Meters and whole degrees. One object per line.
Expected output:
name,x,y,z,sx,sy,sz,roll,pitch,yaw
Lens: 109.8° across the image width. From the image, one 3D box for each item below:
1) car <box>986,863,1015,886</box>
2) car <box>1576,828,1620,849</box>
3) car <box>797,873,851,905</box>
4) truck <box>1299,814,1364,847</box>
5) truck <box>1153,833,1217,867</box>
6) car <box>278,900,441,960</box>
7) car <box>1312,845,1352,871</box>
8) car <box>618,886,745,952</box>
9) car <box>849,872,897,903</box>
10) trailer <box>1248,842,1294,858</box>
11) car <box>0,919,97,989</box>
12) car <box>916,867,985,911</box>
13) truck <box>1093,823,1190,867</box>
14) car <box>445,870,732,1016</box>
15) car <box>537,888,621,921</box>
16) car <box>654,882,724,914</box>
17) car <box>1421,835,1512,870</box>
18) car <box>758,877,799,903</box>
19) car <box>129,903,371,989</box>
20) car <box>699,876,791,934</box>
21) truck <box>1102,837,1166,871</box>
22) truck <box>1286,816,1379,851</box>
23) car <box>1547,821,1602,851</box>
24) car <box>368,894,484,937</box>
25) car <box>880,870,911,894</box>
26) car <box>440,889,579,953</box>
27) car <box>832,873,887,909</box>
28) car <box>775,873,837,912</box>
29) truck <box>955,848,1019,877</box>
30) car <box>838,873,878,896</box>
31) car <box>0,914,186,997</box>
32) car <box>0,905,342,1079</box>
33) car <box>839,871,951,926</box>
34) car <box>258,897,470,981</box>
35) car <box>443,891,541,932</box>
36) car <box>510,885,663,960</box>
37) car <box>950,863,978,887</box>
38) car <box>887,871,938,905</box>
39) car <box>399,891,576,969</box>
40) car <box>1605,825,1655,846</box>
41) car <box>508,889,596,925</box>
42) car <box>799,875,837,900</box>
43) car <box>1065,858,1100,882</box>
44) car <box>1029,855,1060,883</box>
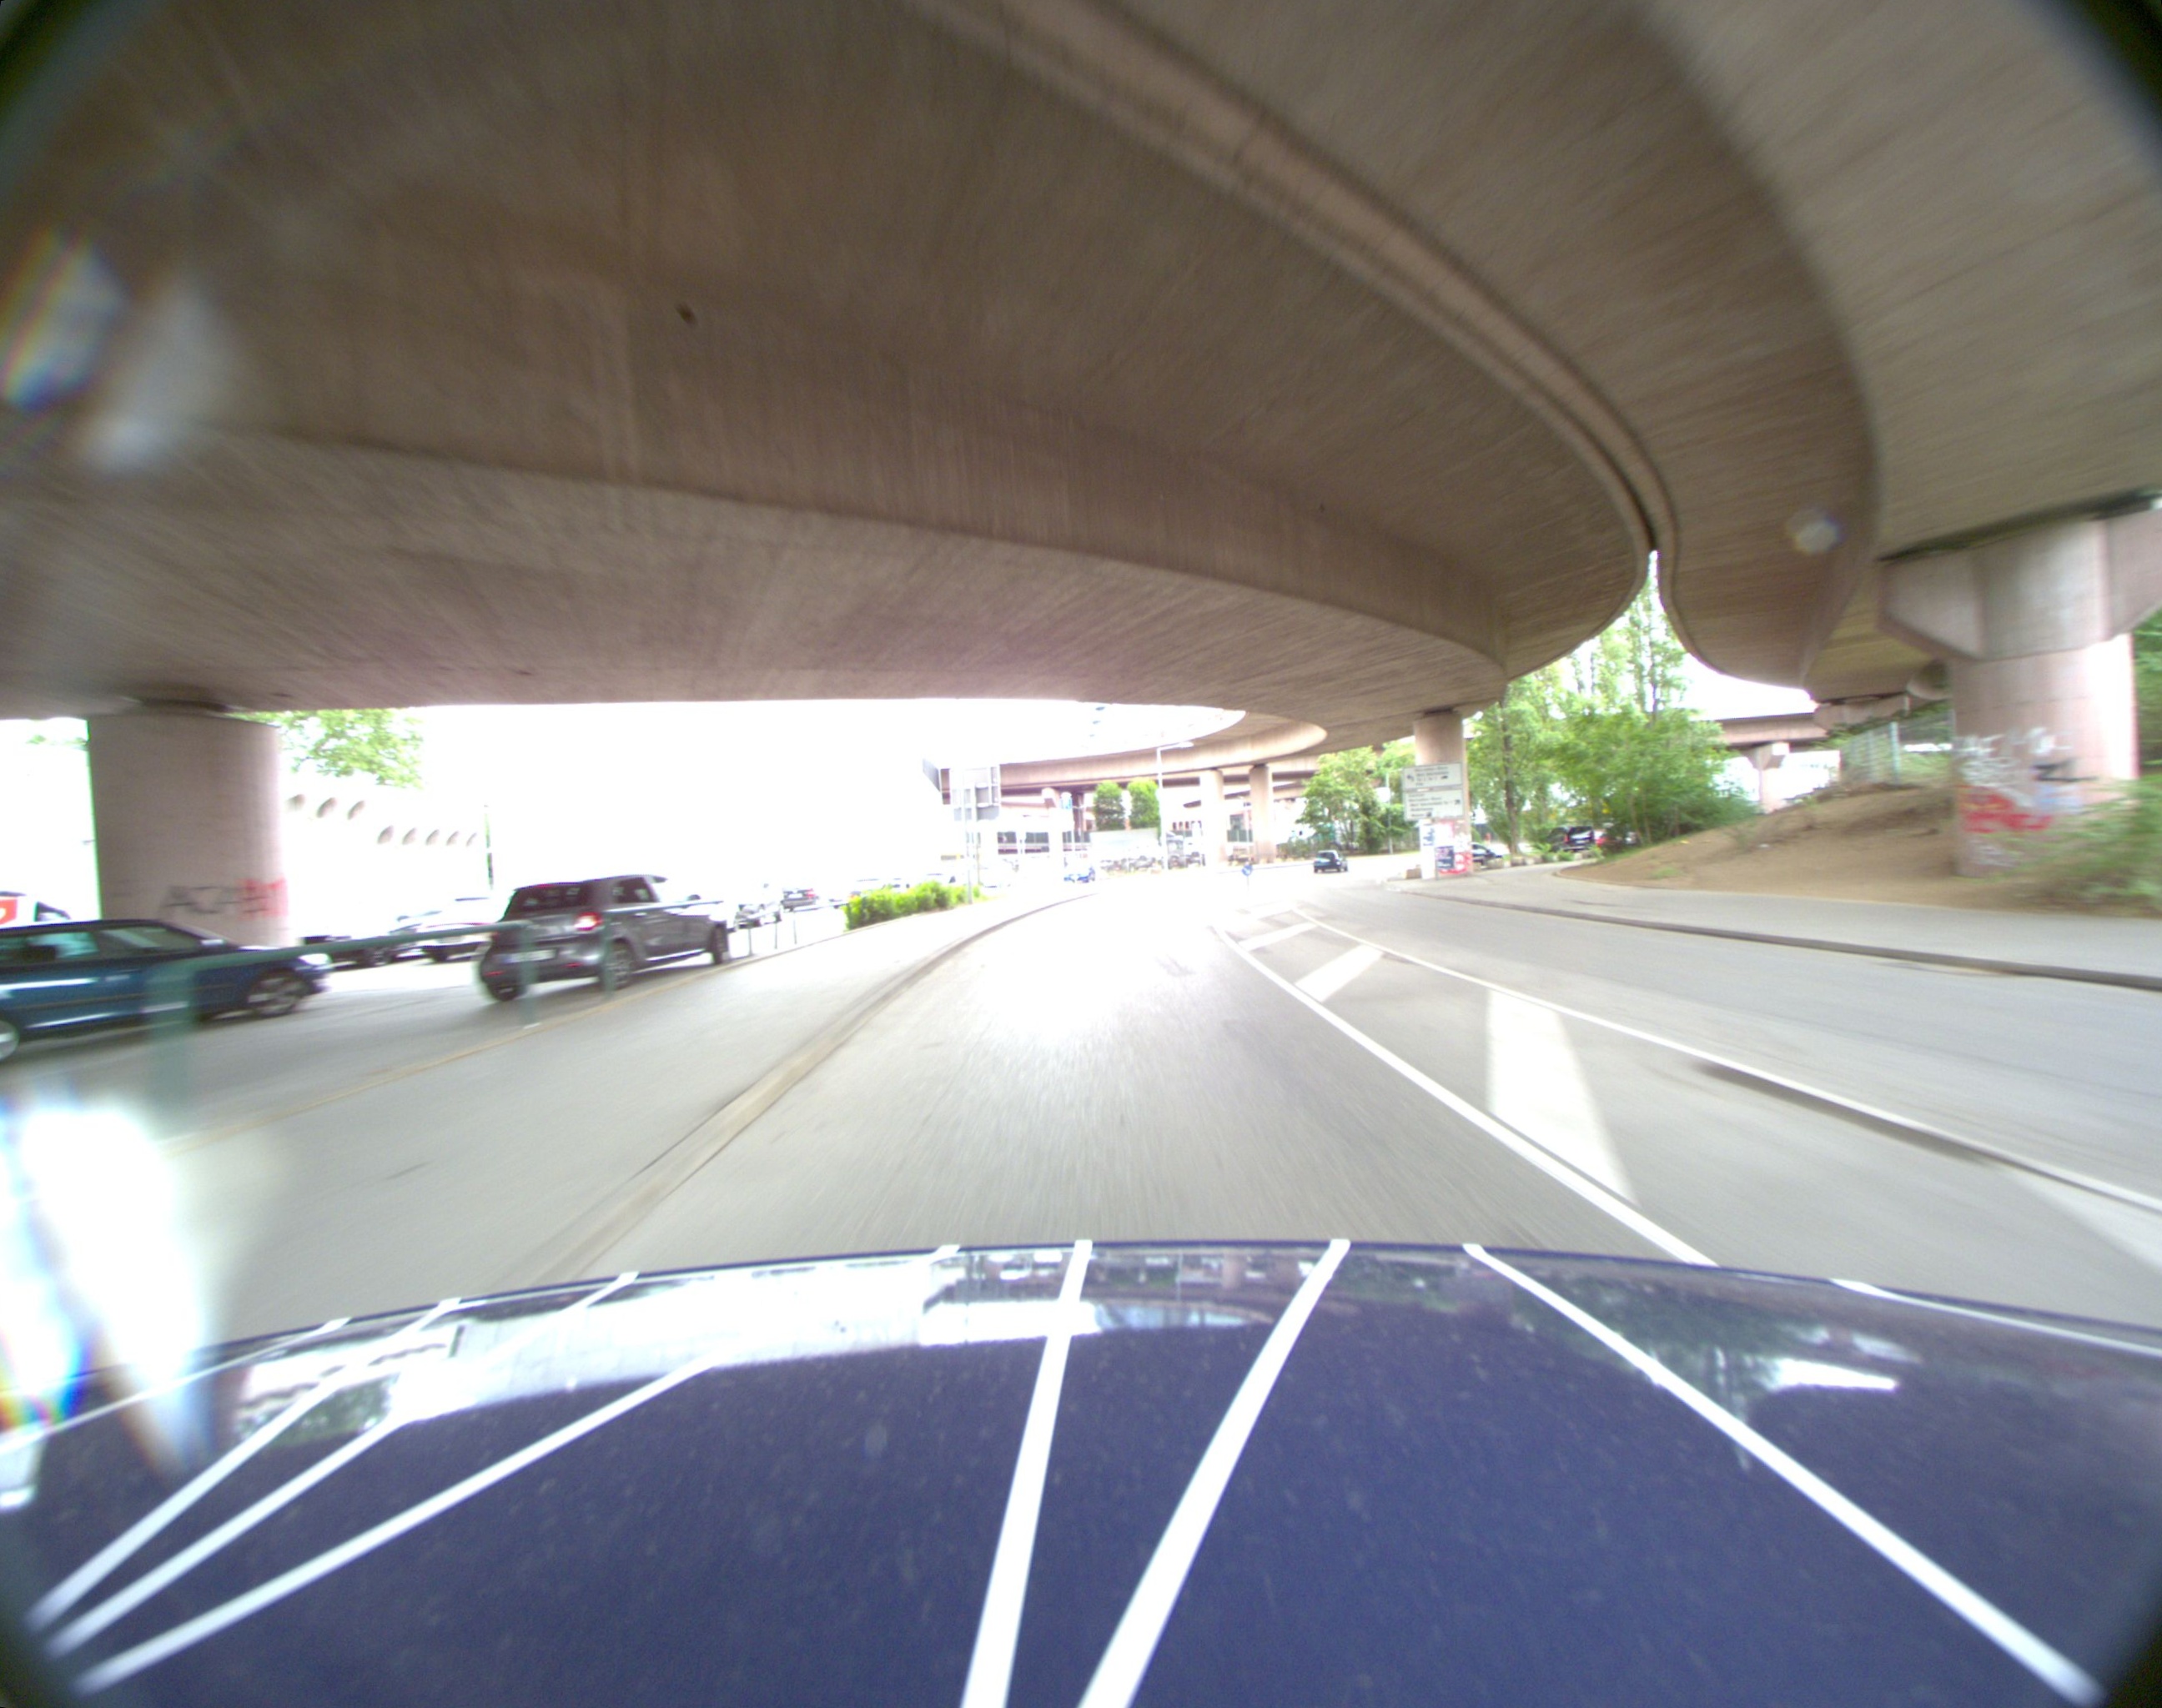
car,-5.773,1.466,55.181,1.775,1.448,4.553,-3,0,-3
car,37.323,-1.160,54.902,1.562,1.372,3.709,-3,1,17
car,-14.377,1.918,42.812,1.839,1.504,4.499,-3,0,-6
truck,28.267,-2.676,85.855,6.409,3.389,2.270,-3,2,-3
truck,9.643,-0.420,69.891,2.418,2.728,7.249,-3,0,37
car,-23.581,2.423,25.093,1.709,1.500,4.258,-3,0,-9
car,16.199,0.231,48.901,1.678,1.422,4.007,-3,0,29
car,-11.180,1.758,21.625,1.838,1.413,4.189,-3,0,-9
car,-11.689,1.829,42.961,1.839,1.504,4.499,-3,0,-6
trailer,18.425,-0.359,73.582,4.388,1.324,1.602,-4,2,-32
car,-27.645,2.603,18.624,1.838,1.583,4.189,-3,0,-9
car,-5.054,1.345,29.717,1.541,1.471,2.763,-3,0,15
truck,6.650,-0.992,84.728,10.133,4.340,3.912,-3,0,-6
car,-6.595,1.087,10.667,1.610,1.524,3.410,-5,0,2
car,-26.817,2.663,40.774,1.839,1.417,4.440,-3,0,-6
car,-21.325,2.343,41.568,1.839,1.417,4.440,-3,0,-6
car,19.885,-0.082,39.158,4.780,1.422,1.825,-3,-2,-30
car,-20.567,2.414,51.777,1.776,1.448,4.357,-3,0,-11
car,-20.720,2.209,19.277,1.838,1.583,4.189,-3,0,-9
car,-11.590,1.699,26.550,1.745,1.665,4.467,-3,0,-9
truck,4.957,-0.030,69.952,2.452,2.869,6.130,-3,0,42
truck,29.435,-2.392,89.014,10.212,3.478,2.269,-3,2,-5
car,34.126,-1.278,52.714,1.853,1.906,4.978,-3,1,17
car,-29.675,2.746,34.627,1.769,1.524,4.486,-3,0,-8
car,-13.110,1.942,53.832,1.623,1.535,3.096,-3,0,-5
car,-18.983,2.141,25.521,1.756,1.681,4.429,-3,0,-9
car,-10.880,1.778,37.604,1.858,1.466,4.684,-3,0,-8
car,-13.380,1.819,37.228,1.858,1.618,4.617,-3,0,-8
truck,-10.779,0.984,87.338,6.926,2.915,3.050,-3,0,-3
car,-15.511,2.082,53.075,1.775,1.376,4.359,-3,0,-5
car,-25.429,2.485,18.833,1.838,1.583,4.189,-3,0,-9
car,-11.796,1.596,9.010,1.788,1.498,3.862,-4,1,15
car,-6.133,1.441,25.554,1.732,1.470,4.254,-3,0,15
car,-18.182,2.072,19.591,1.838,1.583,4.189,-3,0,-9
car,-27.211,2.619,35.274,1.769,1.524,3.973,-3,0,-8
car,-13.305,1.759,20.792,1.838,1.583,4.189,-3,0,-9
car,-8.362,1.468,54.684,1.775,1.578,4.358,-3,0,-6
car,-8.393,1.649,38.202,1.858,1.466,4.684,-3,0,-6
car,-15.662,1.926,20.376,1.838,1.583,4.189,-3,0,-9
car,40.573,-1.396,56.236,1.693,1.356,4.521,-3,1,19
car,-25.104,2.483,36.222,1.769,1.384,3.973,-3,0,-8
car,-18.041,2.252,52.294,1.776,1.448,4.357,-3,0,-11
car,0.178,1.157,56.670,1.773,1.625,4.689,-3,0,10
car,-2.683,1.088,56.851,1.892,1.945,4.680,-3,0,1
